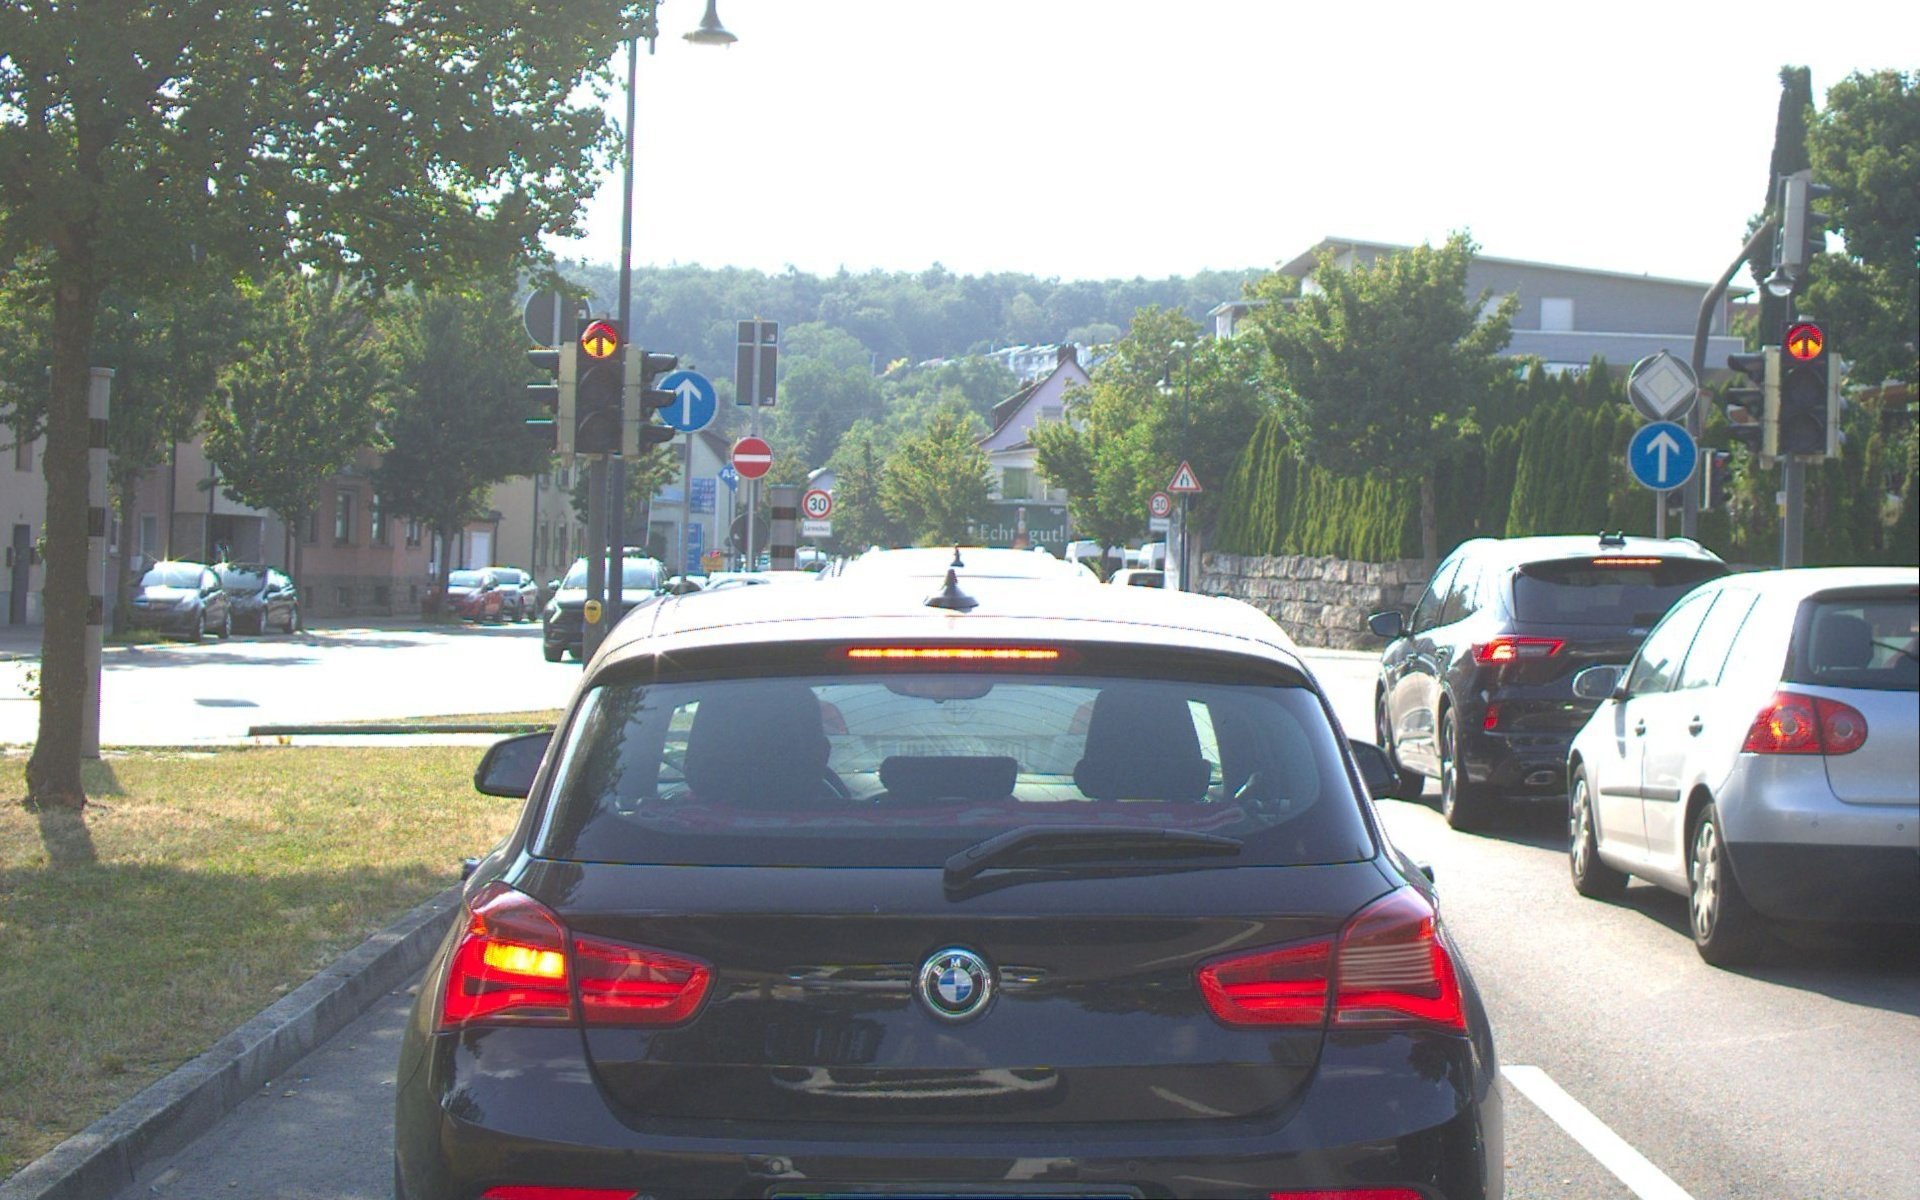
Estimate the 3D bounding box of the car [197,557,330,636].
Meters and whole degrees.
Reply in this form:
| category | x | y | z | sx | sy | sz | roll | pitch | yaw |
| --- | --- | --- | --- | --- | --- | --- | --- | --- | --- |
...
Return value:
| category | x | y | z | sx | sy | sz | roll | pitch | yaw |
| --- | --- | --- | --- | --- | --- | --- | --- | --- | --- |
| car | -14.793 | -0.100 | 73.163 | 1.924 | 1.590 | 4.000 | 1 | 1 | 1 |

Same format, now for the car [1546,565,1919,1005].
| category | x | y | z | sx | sy | sz | roll | pitch | yaw |
| --- | --- | --- | --- | --- | --- | --- | --- | --- | --- |
| car | 3.585 | 0.606 | 13.676 | 1.816 | 1.441 | 4.347 | 1 | 1 | 1 |

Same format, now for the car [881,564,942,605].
| category | x | y | z | sx | sy | sz | roll | pitch | yaw |
| --- | --- | --- | --- | --- | --- | --- | --- | --- | --- |
| car | -1.858 | -0.591 | 130.038 | 1.861 | 1.480 | 4.660 | 1 | 1 | -6 |

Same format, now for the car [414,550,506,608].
| category | x | y | z | sx | sy | sz | roll | pitch | yaw |
| --- | --- | --- | --- | --- | --- | --- | --- | --- | --- |
| car | -14.128 | -0.612 | 97.307 | 1.924 | 1.590 | 4.000 | 1 | 1 | 1 |

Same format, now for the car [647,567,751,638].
| category | x | y | z | sx | sy | sz | roll | pitch | yaw |
| --- | --- | --- | --- | --- | --- | --- | --- | --- | --- |
| car | -5.224 | 0.031 | 69.231 | 1.693 | 1.348 | 4.000 | 1 | 1 | 1 |

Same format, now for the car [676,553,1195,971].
| category | x | y | z | sx | sy | sz | roll | pitch | yaw |
| --- | --- | --- | --- | --- | --- | --- | --- | --- | --- |
| car | -0.053 | 0.543 | 14.248 | 1.816 | 1.446 | 4.242 | 1 | 1 | 1 |

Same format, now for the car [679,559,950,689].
| category | x | y | z | sx | sy | sz | roll | pitch | yaw |
| --- | --- | --- | --- | --- | --- | --- | --- | --- | --- |
| car | -1.820 | 0.262 | 41.808 | 1.766 | 1.453 | 4.001 | 0 | 1 | -27 |

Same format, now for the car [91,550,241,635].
| category | x | y | z | sx | sy | sz | roll | pitch | yaw |
| --- | --- | --- | --- | --- | --- | --- | --- | --- | --- |
| car | -15.473 | -0.170 | 67.195 | 1.924 | 1.590 | 4.000 | 1 | 1 | 1 |

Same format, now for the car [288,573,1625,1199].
| category | x | y | z | sx | sy | sz | roll | pitch | yaw |
| --- | --- | --- | --- | --- | --- | --- | --- | --- | --- |
| car | 0.024 | 0.677 | 6.804 | 1.791 | 1.410 | 4.347 | 1 | 1 | 1 |

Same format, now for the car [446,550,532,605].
| category | x | y | z | sx | sy | sz | roll | pitch | yaw |
| --- | --- | --- | --- | --- | --- | --- | --- | --- | --- |
| car | -14.062 | -0.699 | 102.812 | 1.924 | 1.590 | 4.000 | 1 | 1 | 1 |

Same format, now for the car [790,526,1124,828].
| category | x | y | z | sx | sy | sz | roll | pitch | yaw |
| --- | --- | --- | --- | --- | --- | --- | --- | --- | --- |
| car | 0.021 | 0.389 | 20.983 | 1.816 | 1.635 | 4.242 | 1 | 1 | 1 |

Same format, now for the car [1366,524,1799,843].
| category | x | y | z | sx | sy | sz | roll | pitch | yaw |
| --- | --- | --- | --- | --- | --- | --- | --- | --- | --- |
| car | 3.533 | 0.407 | 20.292 | 1.816 | 1.660 | 4.347 | 1 | 1 | 1 |
